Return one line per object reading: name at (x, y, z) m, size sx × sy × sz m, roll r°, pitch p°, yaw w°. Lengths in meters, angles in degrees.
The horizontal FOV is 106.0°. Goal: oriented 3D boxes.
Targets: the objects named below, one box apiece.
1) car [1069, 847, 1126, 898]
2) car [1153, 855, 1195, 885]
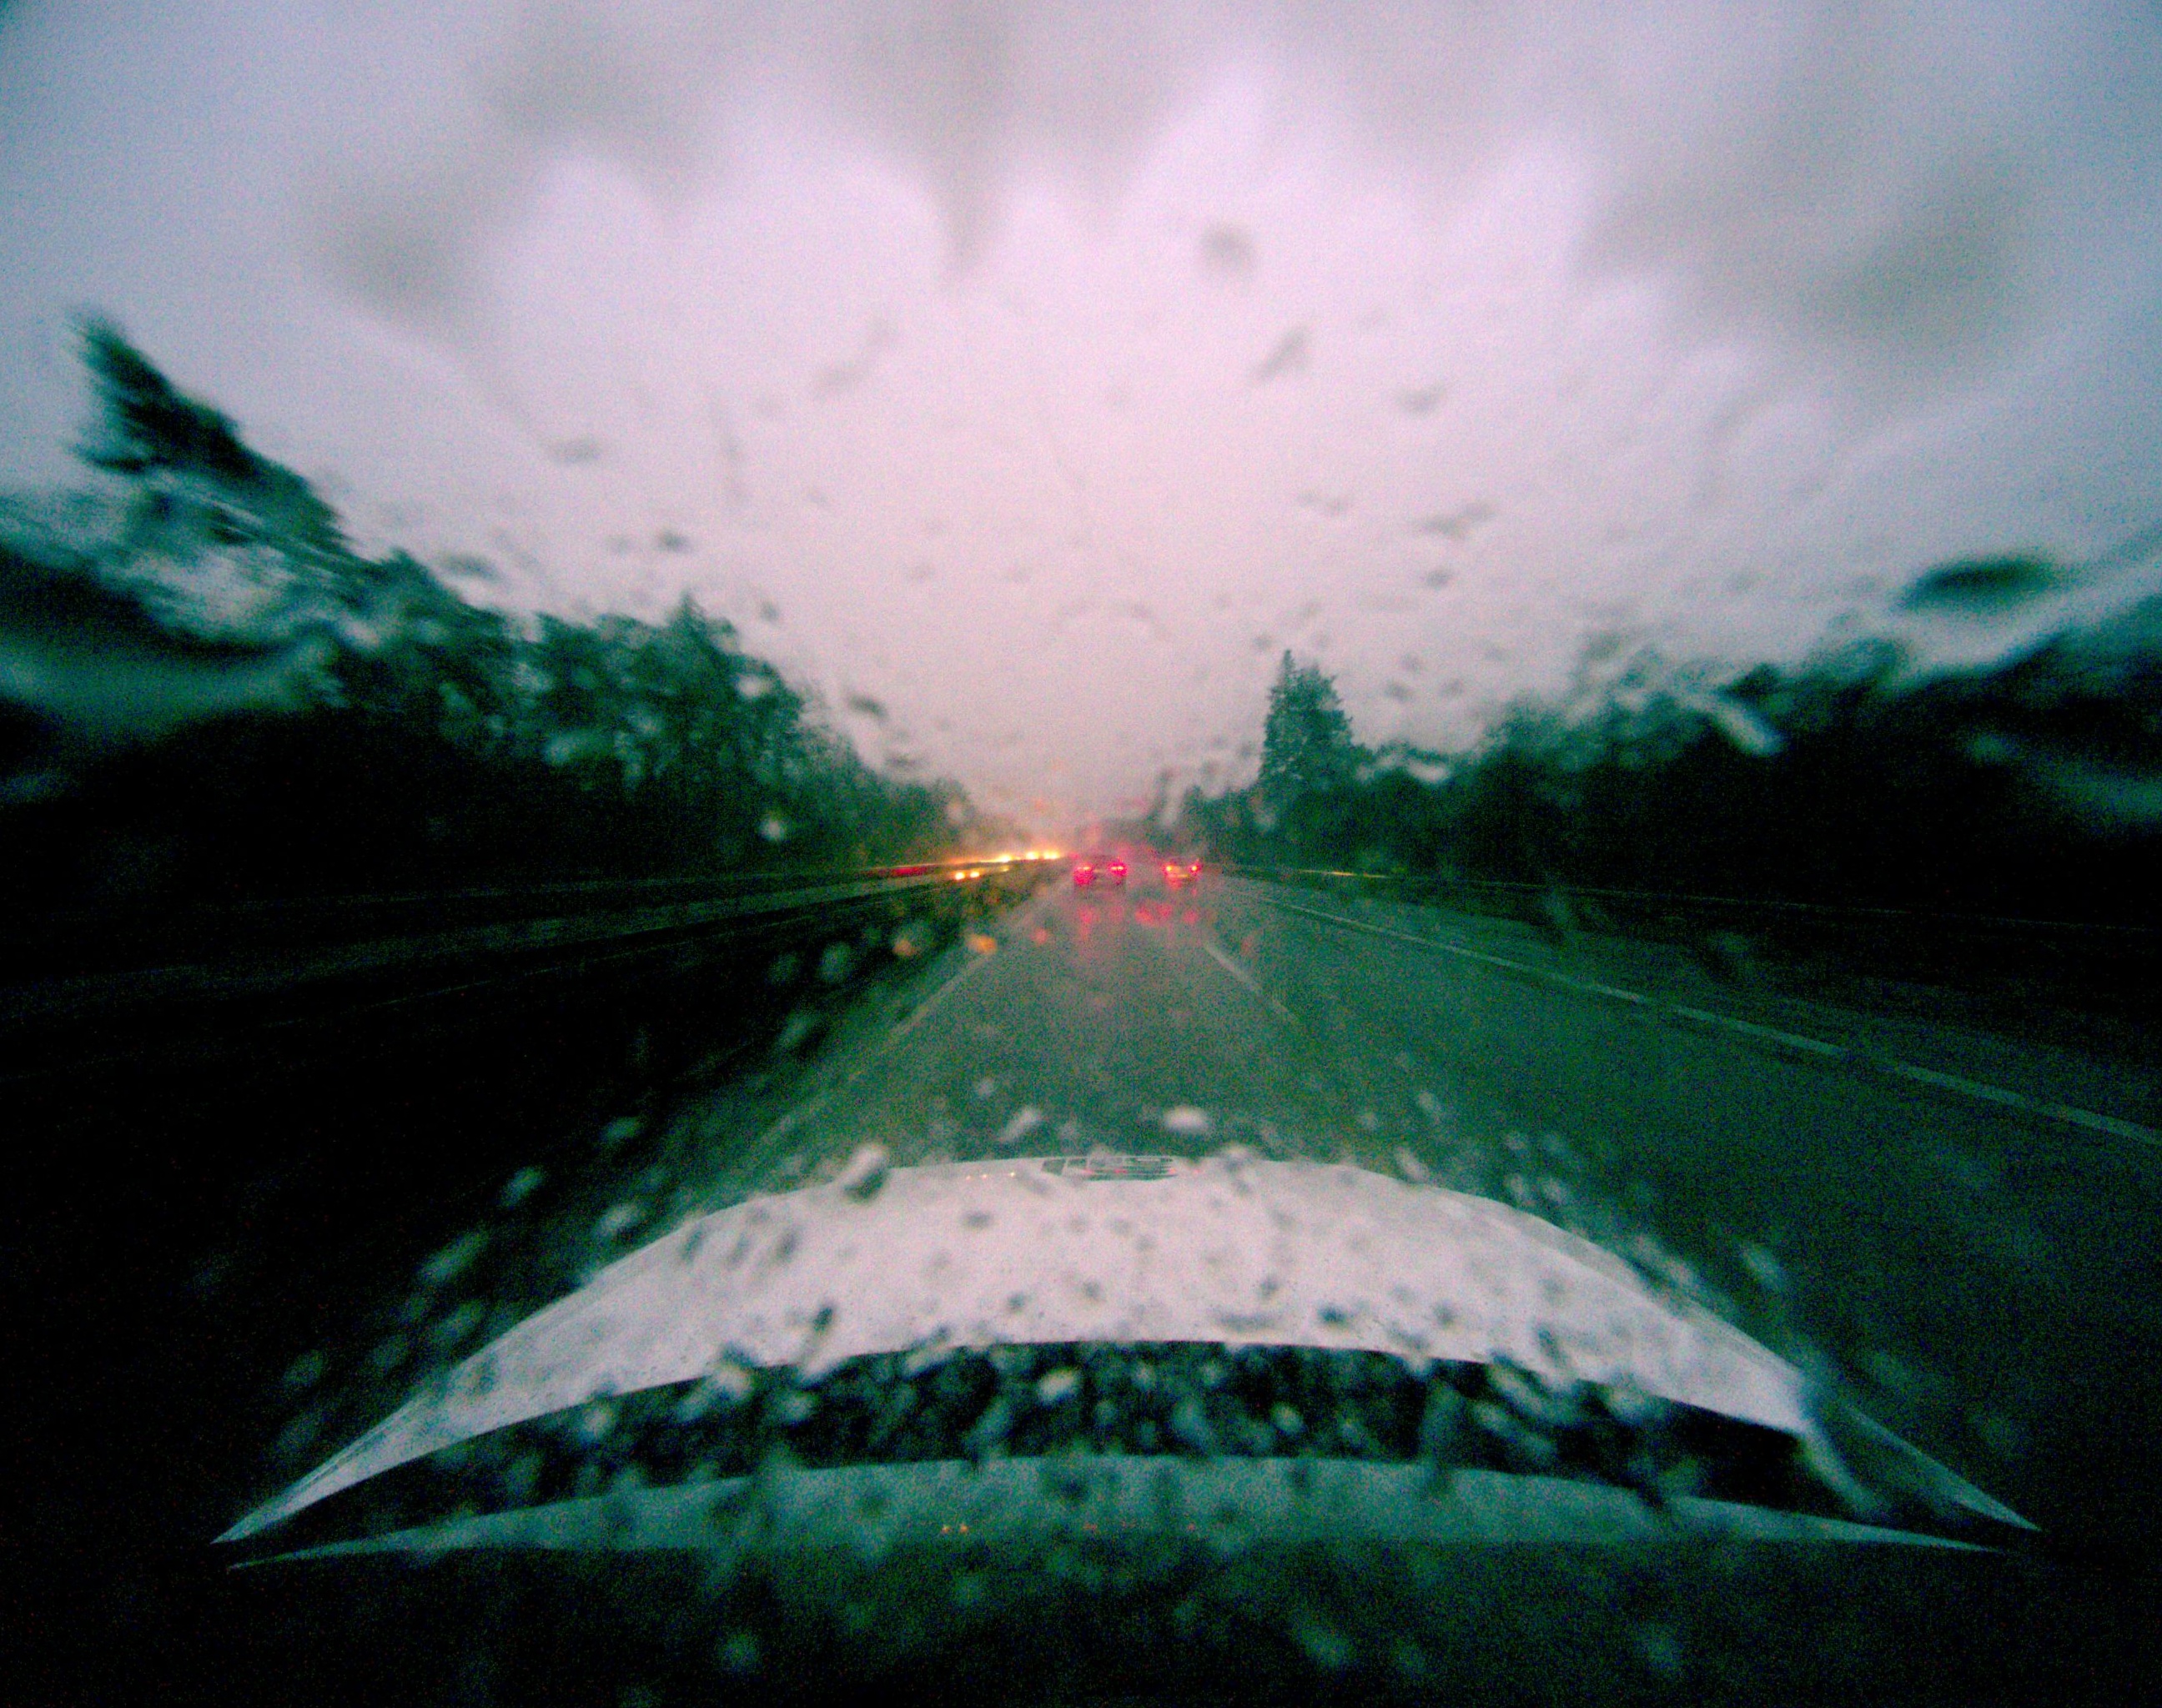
car at (0.655, 0.636, 30.745) m, size 1.979 × 1.767 × 4.175 m, roll -1°, pitch 0°, yaw 2°
car at (4.745, 0.786, 42.068) m, size 1.774 × 1.437 × 3.536 m, roll 0°, pitch 0°, yaw 0°
